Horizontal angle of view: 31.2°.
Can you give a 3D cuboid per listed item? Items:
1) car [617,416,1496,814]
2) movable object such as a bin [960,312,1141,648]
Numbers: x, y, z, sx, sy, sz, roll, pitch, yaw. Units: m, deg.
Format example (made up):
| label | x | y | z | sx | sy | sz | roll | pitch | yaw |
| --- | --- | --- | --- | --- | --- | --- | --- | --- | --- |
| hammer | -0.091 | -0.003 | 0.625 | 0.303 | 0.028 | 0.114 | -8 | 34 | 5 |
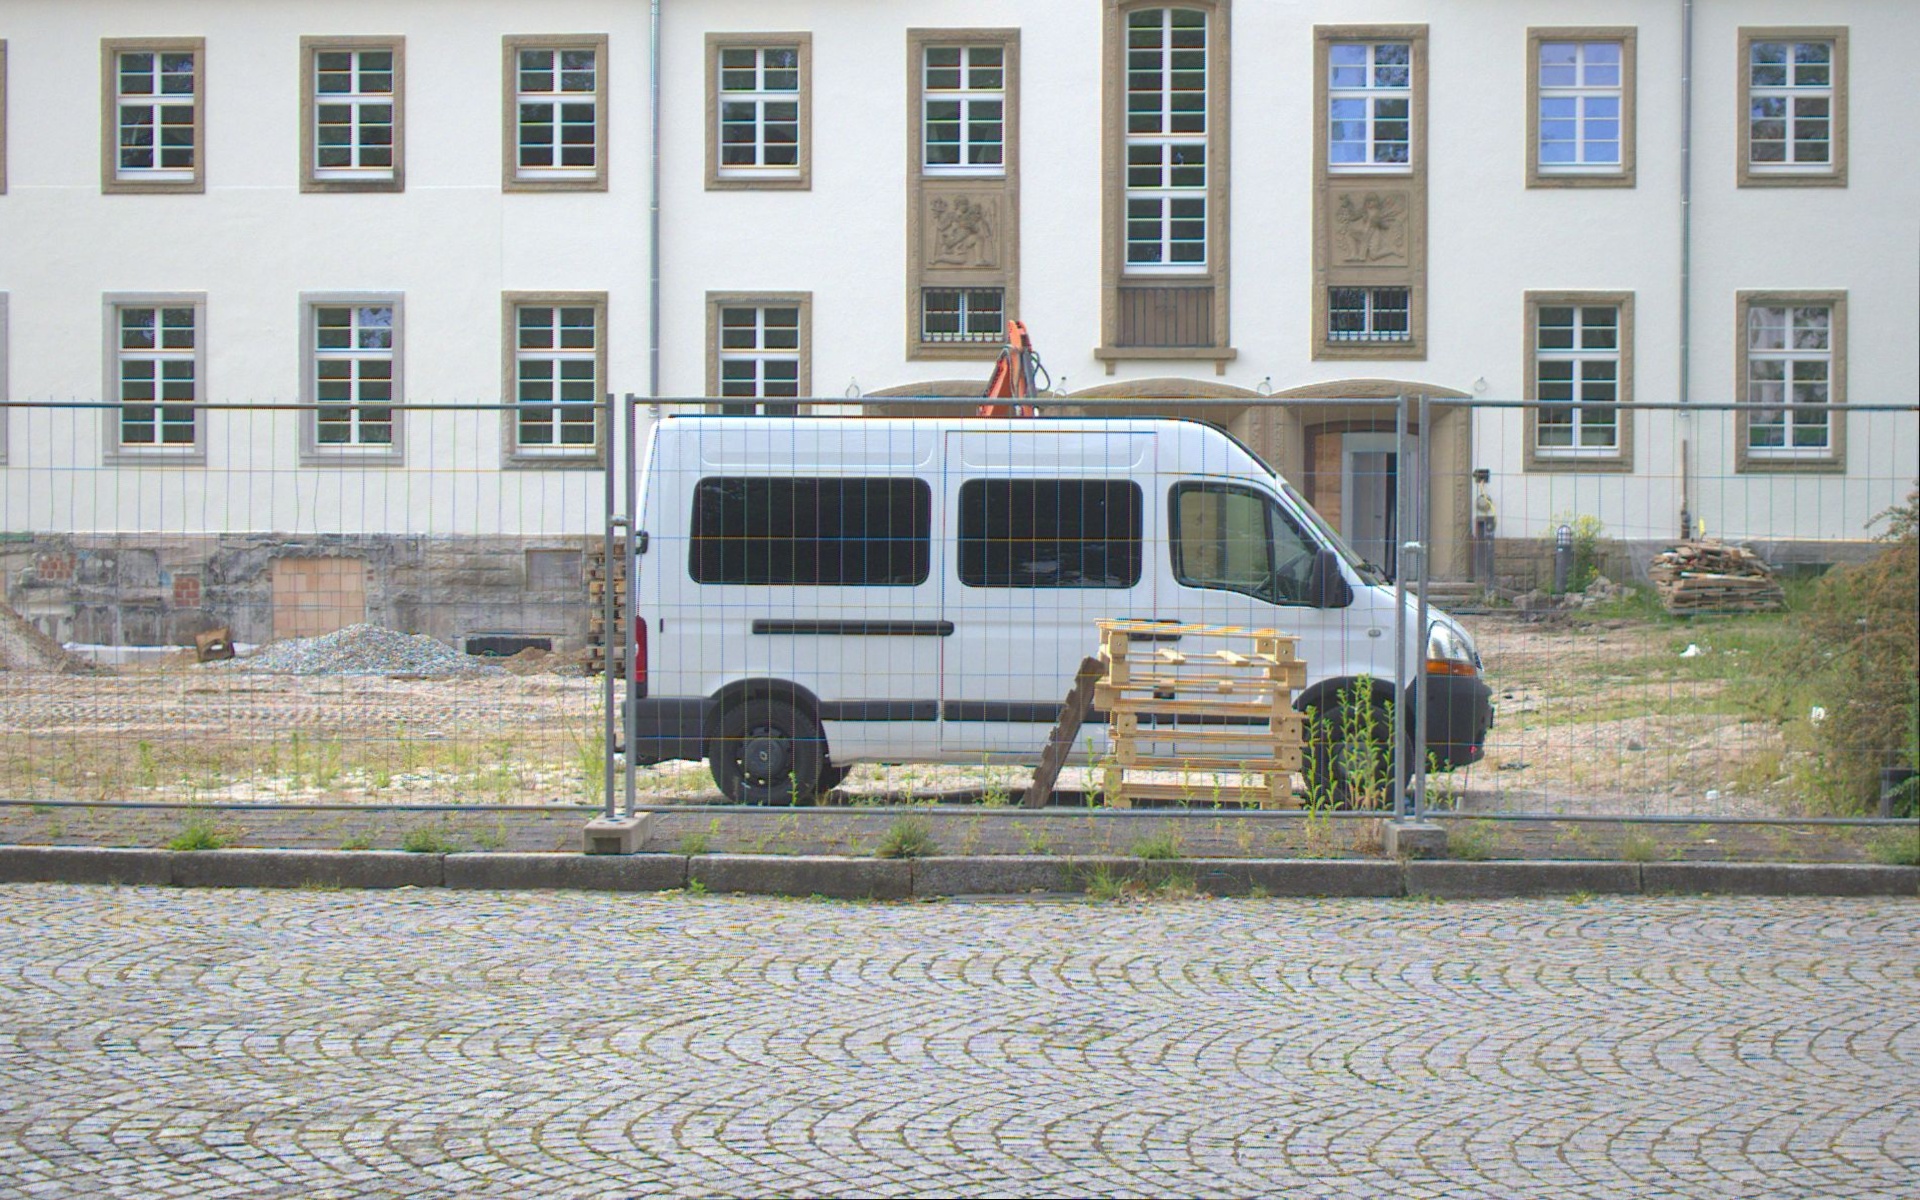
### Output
| label | x | y | z | sx | sy | sz | roll | pitch | yaw |
| --- | --- | --- | --- | --- | --- | --- | --- | --- | --- |
| car | 0.631 | 0.056 | 21.560 | 5.264 | 2.336 | 1.910 | 1 | 1 | 5 |
| movable object such as a bin | 1.027 | -1.403 | 41.211 | 1.993 | 3.758 | 5.318 | 1 | 1 | 0 |
